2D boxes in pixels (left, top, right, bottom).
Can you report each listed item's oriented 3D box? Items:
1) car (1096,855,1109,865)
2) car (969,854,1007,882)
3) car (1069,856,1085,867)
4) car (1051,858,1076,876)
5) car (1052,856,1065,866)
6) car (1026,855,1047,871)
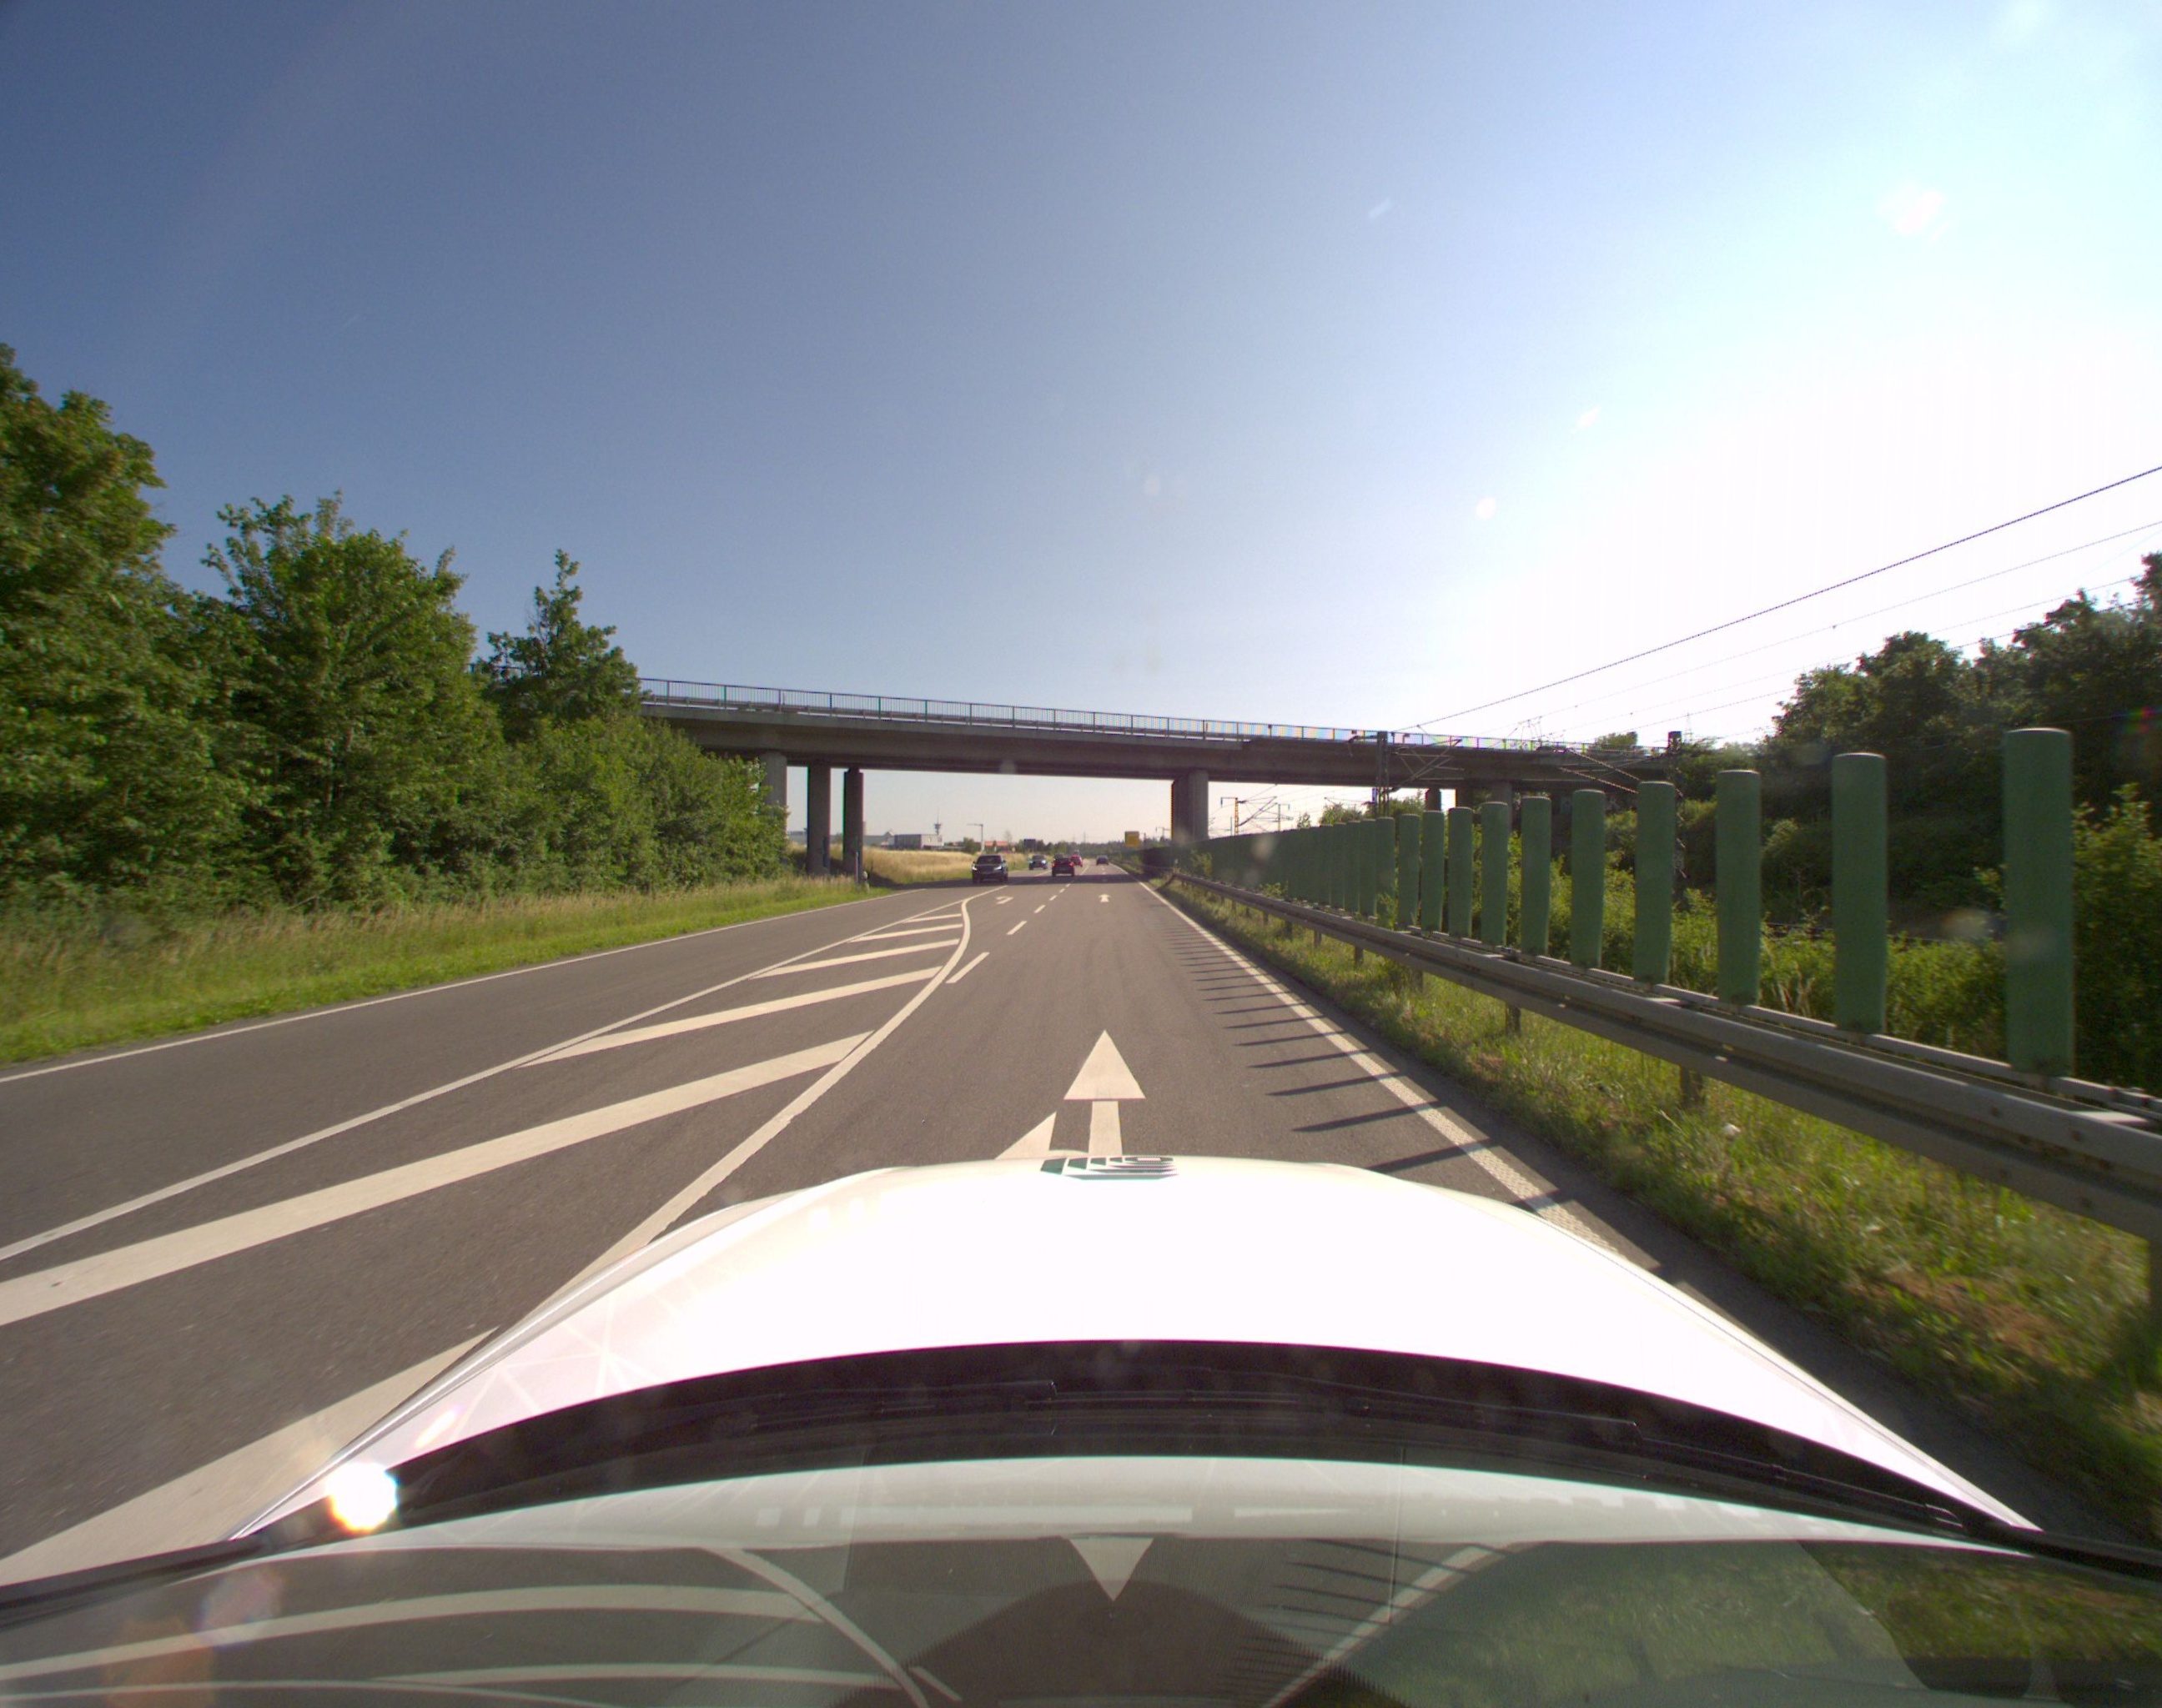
[{"bbox_3d":[3.160,0.881,121.033,1.888,1.418,4.001,-1,0,2],"label":"car"},{"bbox_3d":[-5.634,0.818,49.820,1.839,1.630,3.999,-1,0,0],"label":"car"},{"bbox_3d":[-0.547,1.002,106.092,1.888,1.418,4.001,-1,0,2],"label":"car"},{"bbox_3d":[-1.262,0.966,60.433,1.657,1.261,4.001,-1,0,2],"label":"car"},{"bbox_3d":[-3.785,1.246,139.170,1.888,1.630,4.001,-1,0,2],"label":"car"},{"bbox_3d":[-4.795,0.936,88.144,1.888,1.630,4.001,-1,0,2],"label":"car"}]
